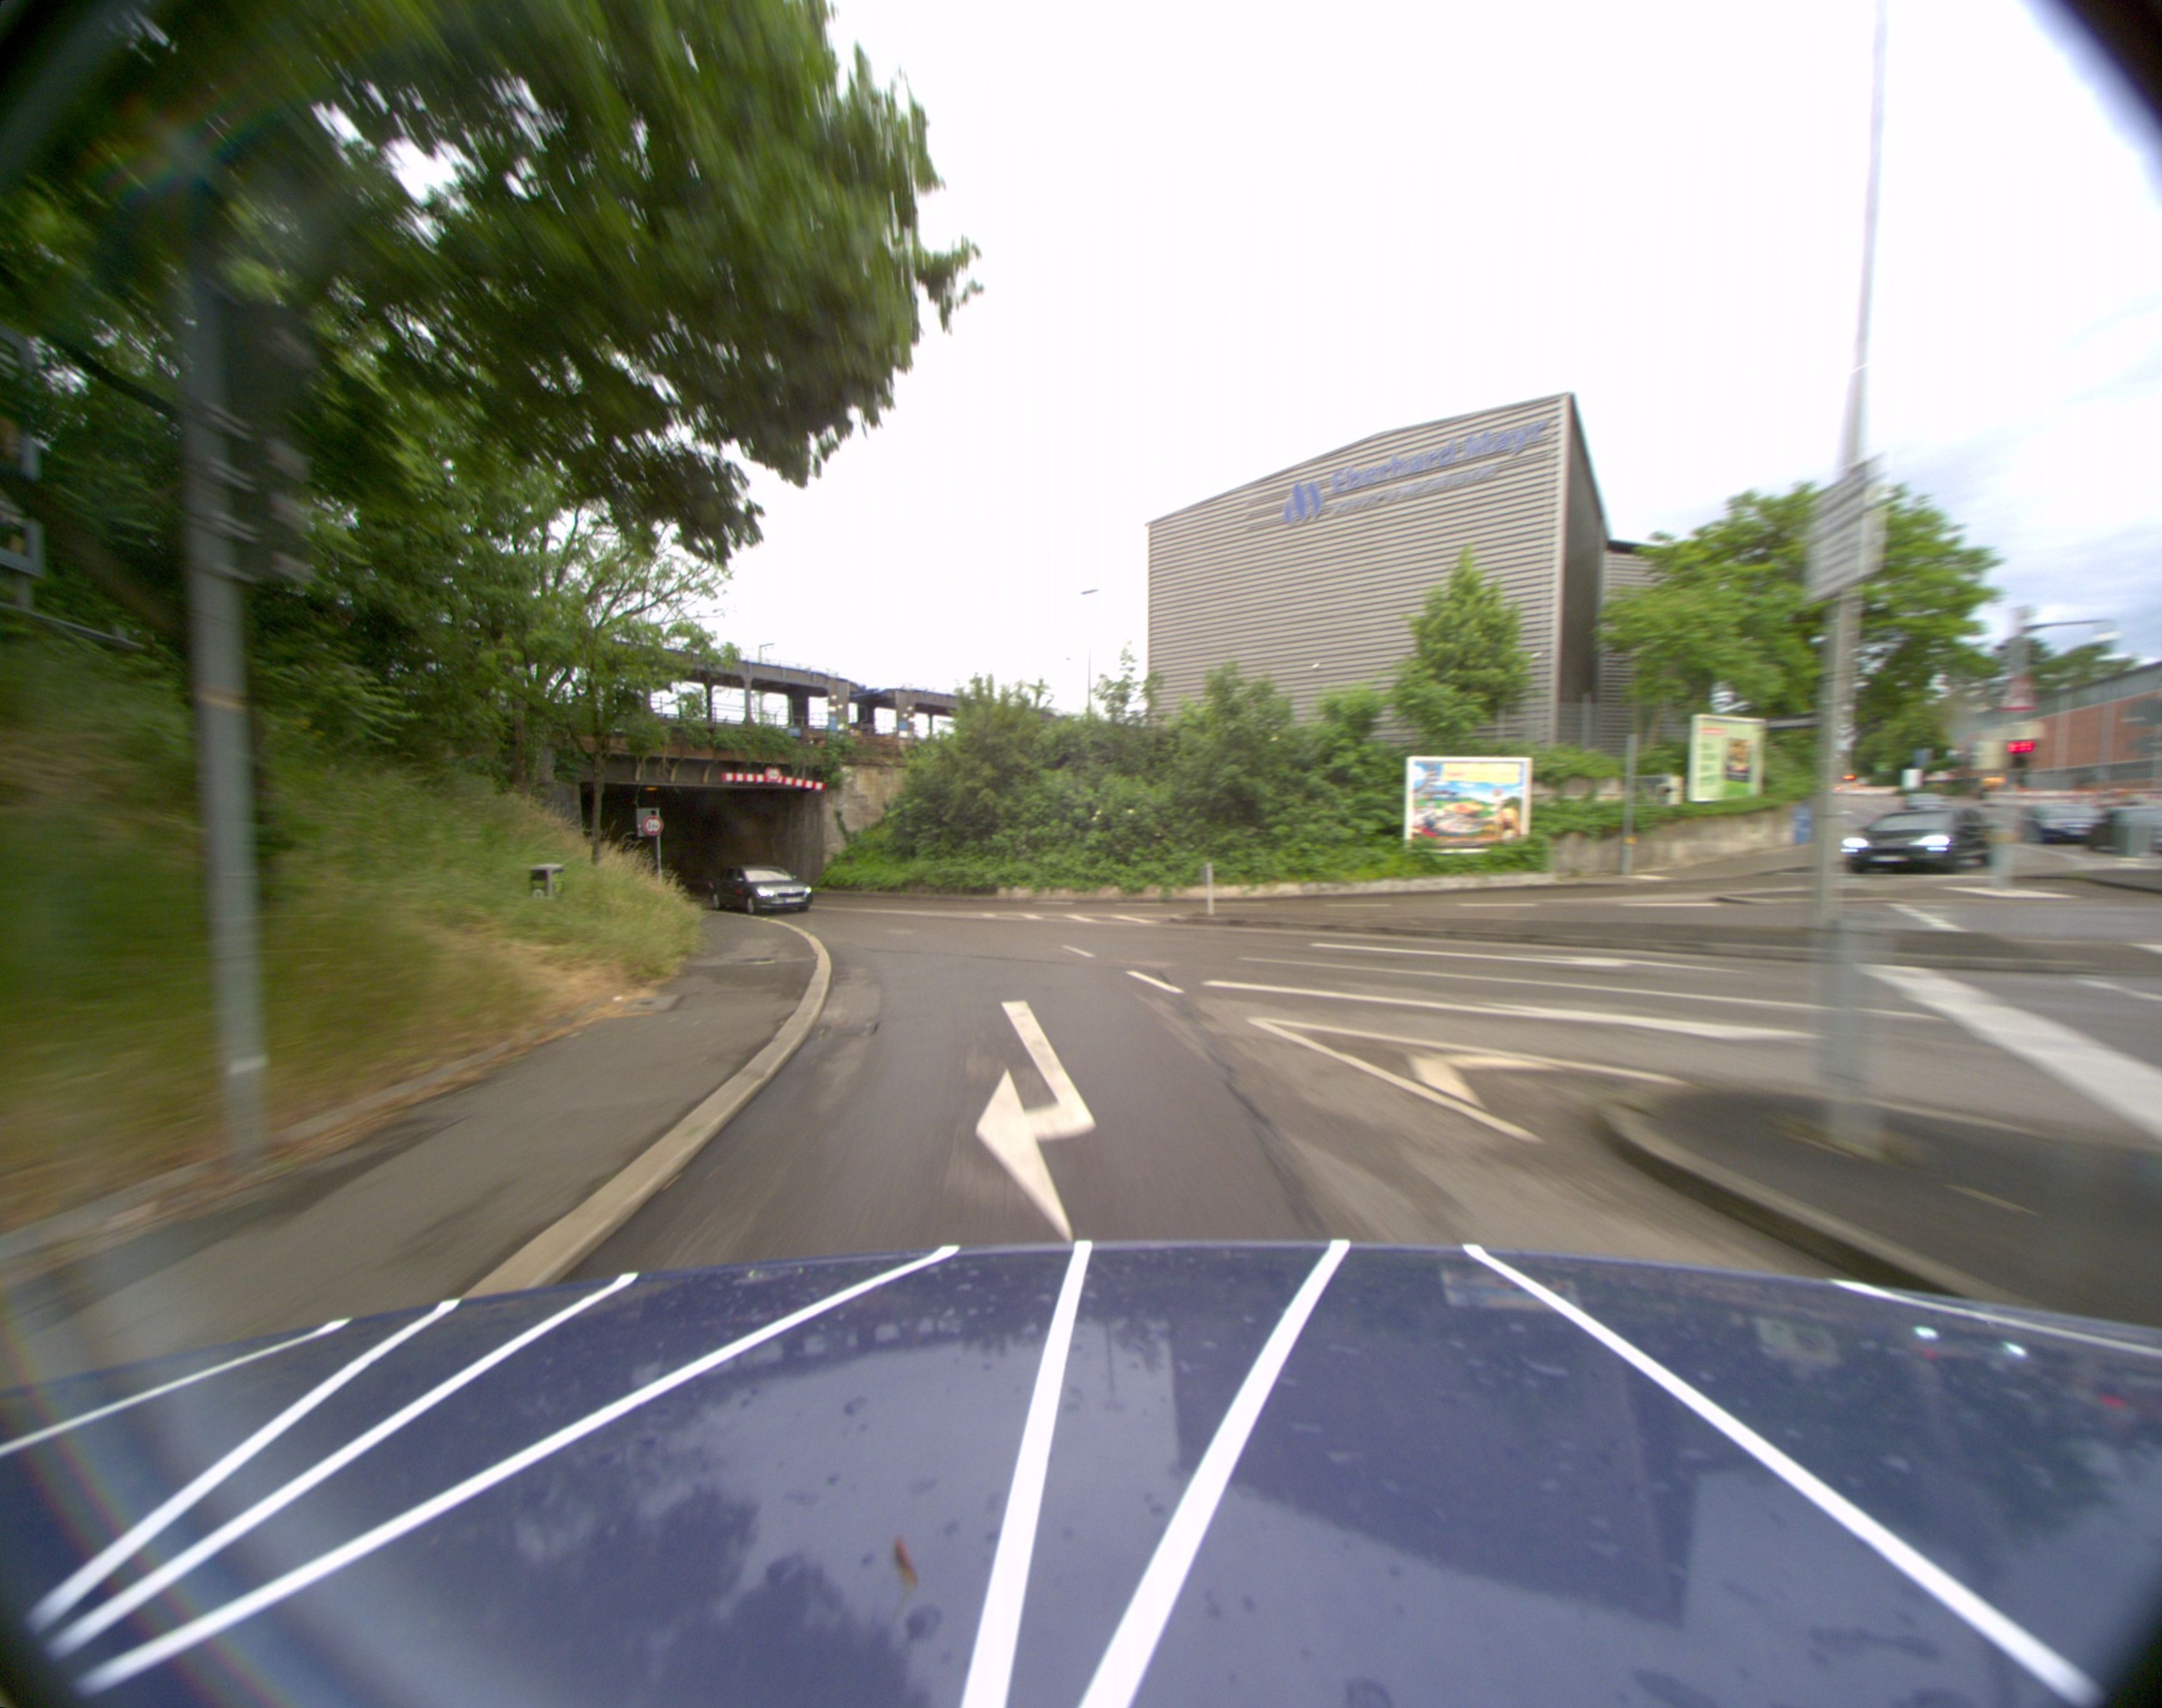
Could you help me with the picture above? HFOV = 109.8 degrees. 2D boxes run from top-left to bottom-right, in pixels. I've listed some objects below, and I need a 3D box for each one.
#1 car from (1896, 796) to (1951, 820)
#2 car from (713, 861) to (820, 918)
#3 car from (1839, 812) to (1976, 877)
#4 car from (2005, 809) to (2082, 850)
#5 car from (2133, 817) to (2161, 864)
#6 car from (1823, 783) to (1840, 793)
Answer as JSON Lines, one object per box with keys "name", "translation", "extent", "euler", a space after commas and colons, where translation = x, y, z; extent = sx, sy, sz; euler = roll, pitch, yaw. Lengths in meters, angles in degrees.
{"name": "car", "translation": [58.385, -3.205, 52.720], "extent": [1.733, 1.569, 3.716], "euler": [2, 4, 35]}
{"name": "car", "translation": [-10.000, 1.044, 24.017], "extent": [1.815, 1.509, 4.040], "euler": [-3, 3, -42]}
{"name": "car", "translation": [23.015, -0.283, 21.129], "extent": [4.217, 1.535, 1.948], "euler": [-4, 2, -34]}
{"name": "car", "translation": [36.706, -0.938, 29.048], "extent": [3.762, 1.362, 1.749], "euler": [-4, 2, -39]}
{"name": "car", "translation": [32.919, -0.440, 22.650], "extent": [3.762, 1.253, 1.593], "euler": [-4, 2, -39]}
{"name": "car", "translation": [104.662, -9.232, 105.972], "extent": [1.529, 1.308, 3.236], "euler": [3, 5, 42]}
